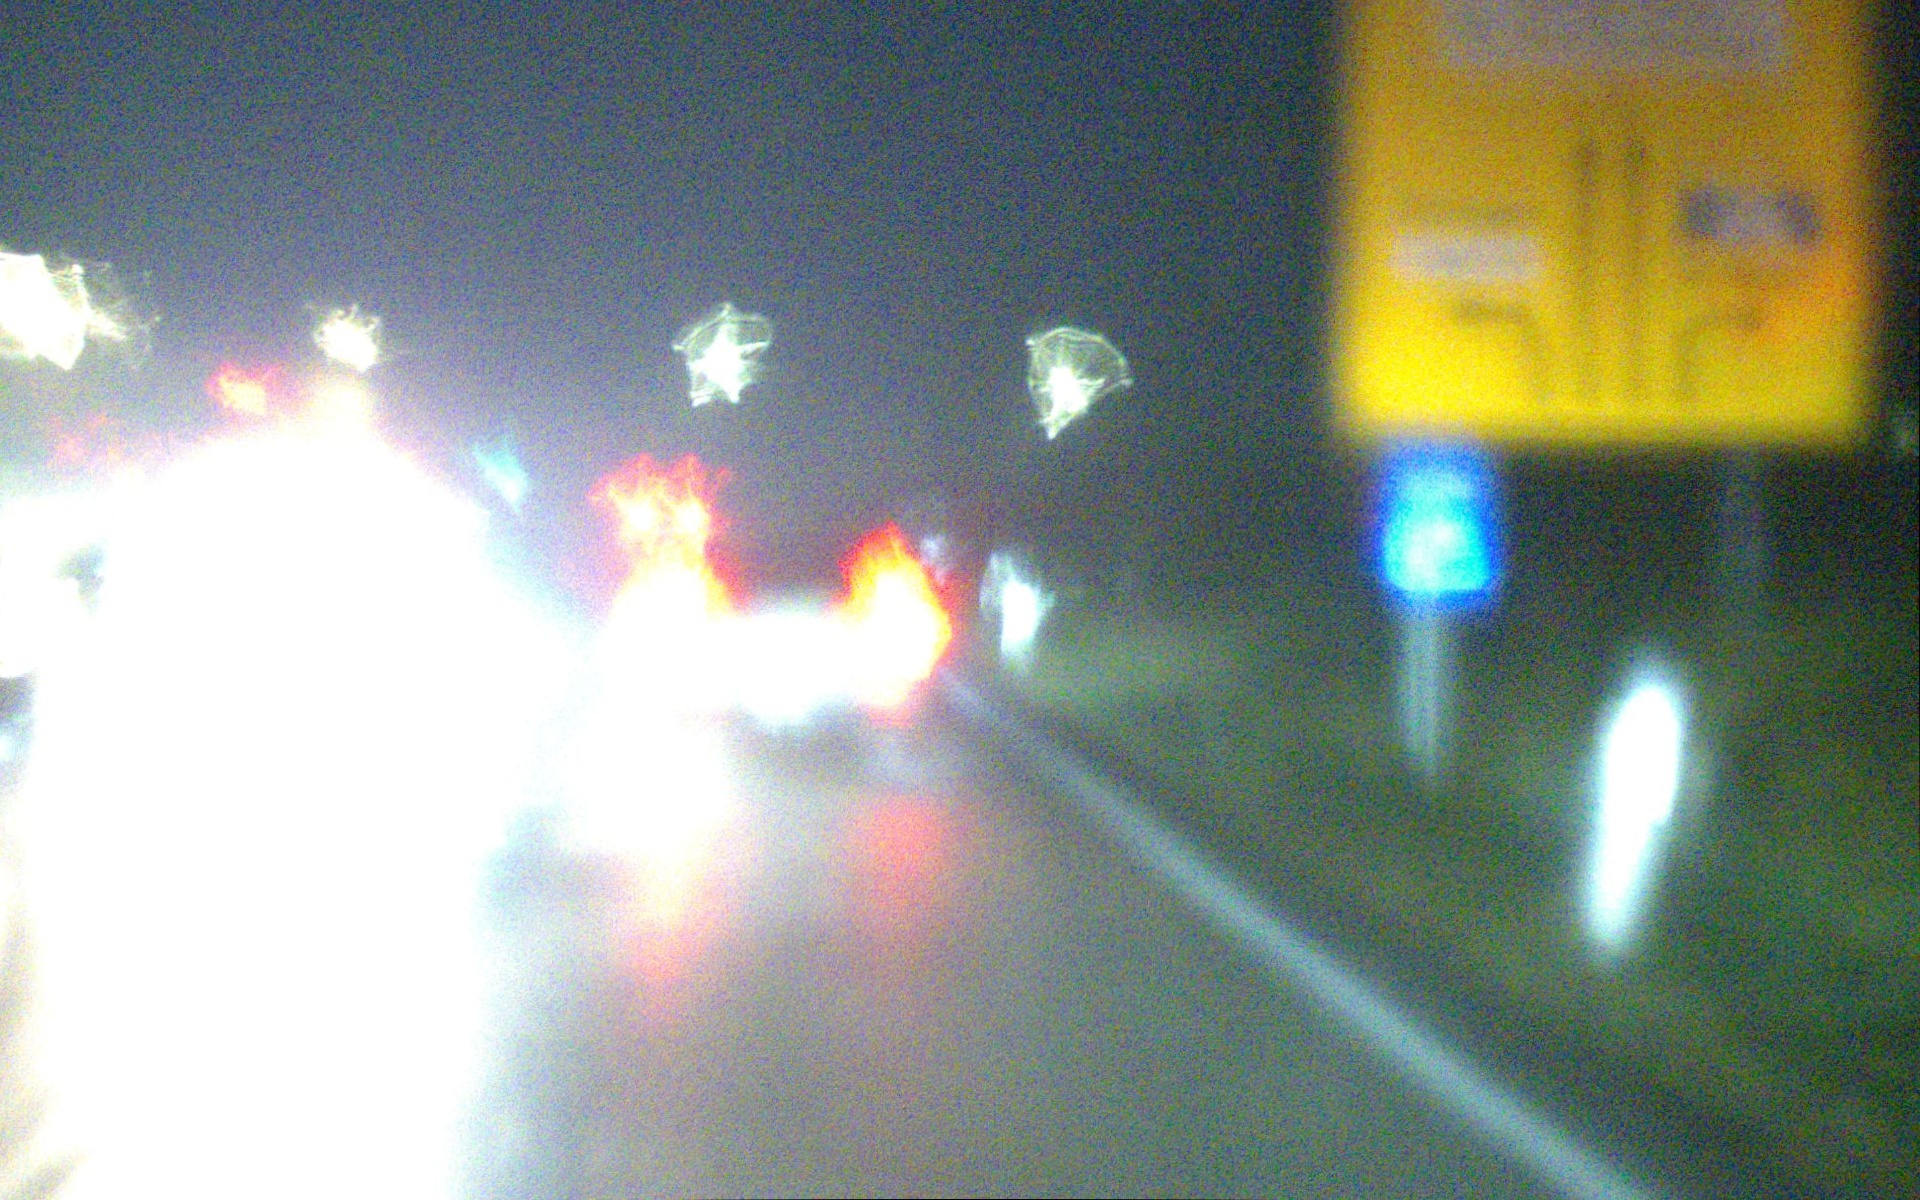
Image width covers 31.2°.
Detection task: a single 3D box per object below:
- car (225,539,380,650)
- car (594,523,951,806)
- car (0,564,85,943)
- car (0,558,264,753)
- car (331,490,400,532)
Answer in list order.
[{"bbox_3d":[-8.686,-0.090,45.218,1.771,1.384,4.037,1,1,-14],"label":"car"},{"bbox_3d":[-1.102,0.346,22.567,1.993,1.622,4.984,1,1,1],"label":"car"},{"bbox_3d":[-4.434,0.552,12.827,1.771,1.384,4.234,1,1,-8],"label":"car"},{"bbox_3d":[-6.455,0.375,26.689,1.771,1.384,4.234,1,1,-8],"label":"car"},{"bbox_3d":[-25.001,-3.774,144.532,1.993,1.622,4.986,-2,3,-20],"label":"car"}]
